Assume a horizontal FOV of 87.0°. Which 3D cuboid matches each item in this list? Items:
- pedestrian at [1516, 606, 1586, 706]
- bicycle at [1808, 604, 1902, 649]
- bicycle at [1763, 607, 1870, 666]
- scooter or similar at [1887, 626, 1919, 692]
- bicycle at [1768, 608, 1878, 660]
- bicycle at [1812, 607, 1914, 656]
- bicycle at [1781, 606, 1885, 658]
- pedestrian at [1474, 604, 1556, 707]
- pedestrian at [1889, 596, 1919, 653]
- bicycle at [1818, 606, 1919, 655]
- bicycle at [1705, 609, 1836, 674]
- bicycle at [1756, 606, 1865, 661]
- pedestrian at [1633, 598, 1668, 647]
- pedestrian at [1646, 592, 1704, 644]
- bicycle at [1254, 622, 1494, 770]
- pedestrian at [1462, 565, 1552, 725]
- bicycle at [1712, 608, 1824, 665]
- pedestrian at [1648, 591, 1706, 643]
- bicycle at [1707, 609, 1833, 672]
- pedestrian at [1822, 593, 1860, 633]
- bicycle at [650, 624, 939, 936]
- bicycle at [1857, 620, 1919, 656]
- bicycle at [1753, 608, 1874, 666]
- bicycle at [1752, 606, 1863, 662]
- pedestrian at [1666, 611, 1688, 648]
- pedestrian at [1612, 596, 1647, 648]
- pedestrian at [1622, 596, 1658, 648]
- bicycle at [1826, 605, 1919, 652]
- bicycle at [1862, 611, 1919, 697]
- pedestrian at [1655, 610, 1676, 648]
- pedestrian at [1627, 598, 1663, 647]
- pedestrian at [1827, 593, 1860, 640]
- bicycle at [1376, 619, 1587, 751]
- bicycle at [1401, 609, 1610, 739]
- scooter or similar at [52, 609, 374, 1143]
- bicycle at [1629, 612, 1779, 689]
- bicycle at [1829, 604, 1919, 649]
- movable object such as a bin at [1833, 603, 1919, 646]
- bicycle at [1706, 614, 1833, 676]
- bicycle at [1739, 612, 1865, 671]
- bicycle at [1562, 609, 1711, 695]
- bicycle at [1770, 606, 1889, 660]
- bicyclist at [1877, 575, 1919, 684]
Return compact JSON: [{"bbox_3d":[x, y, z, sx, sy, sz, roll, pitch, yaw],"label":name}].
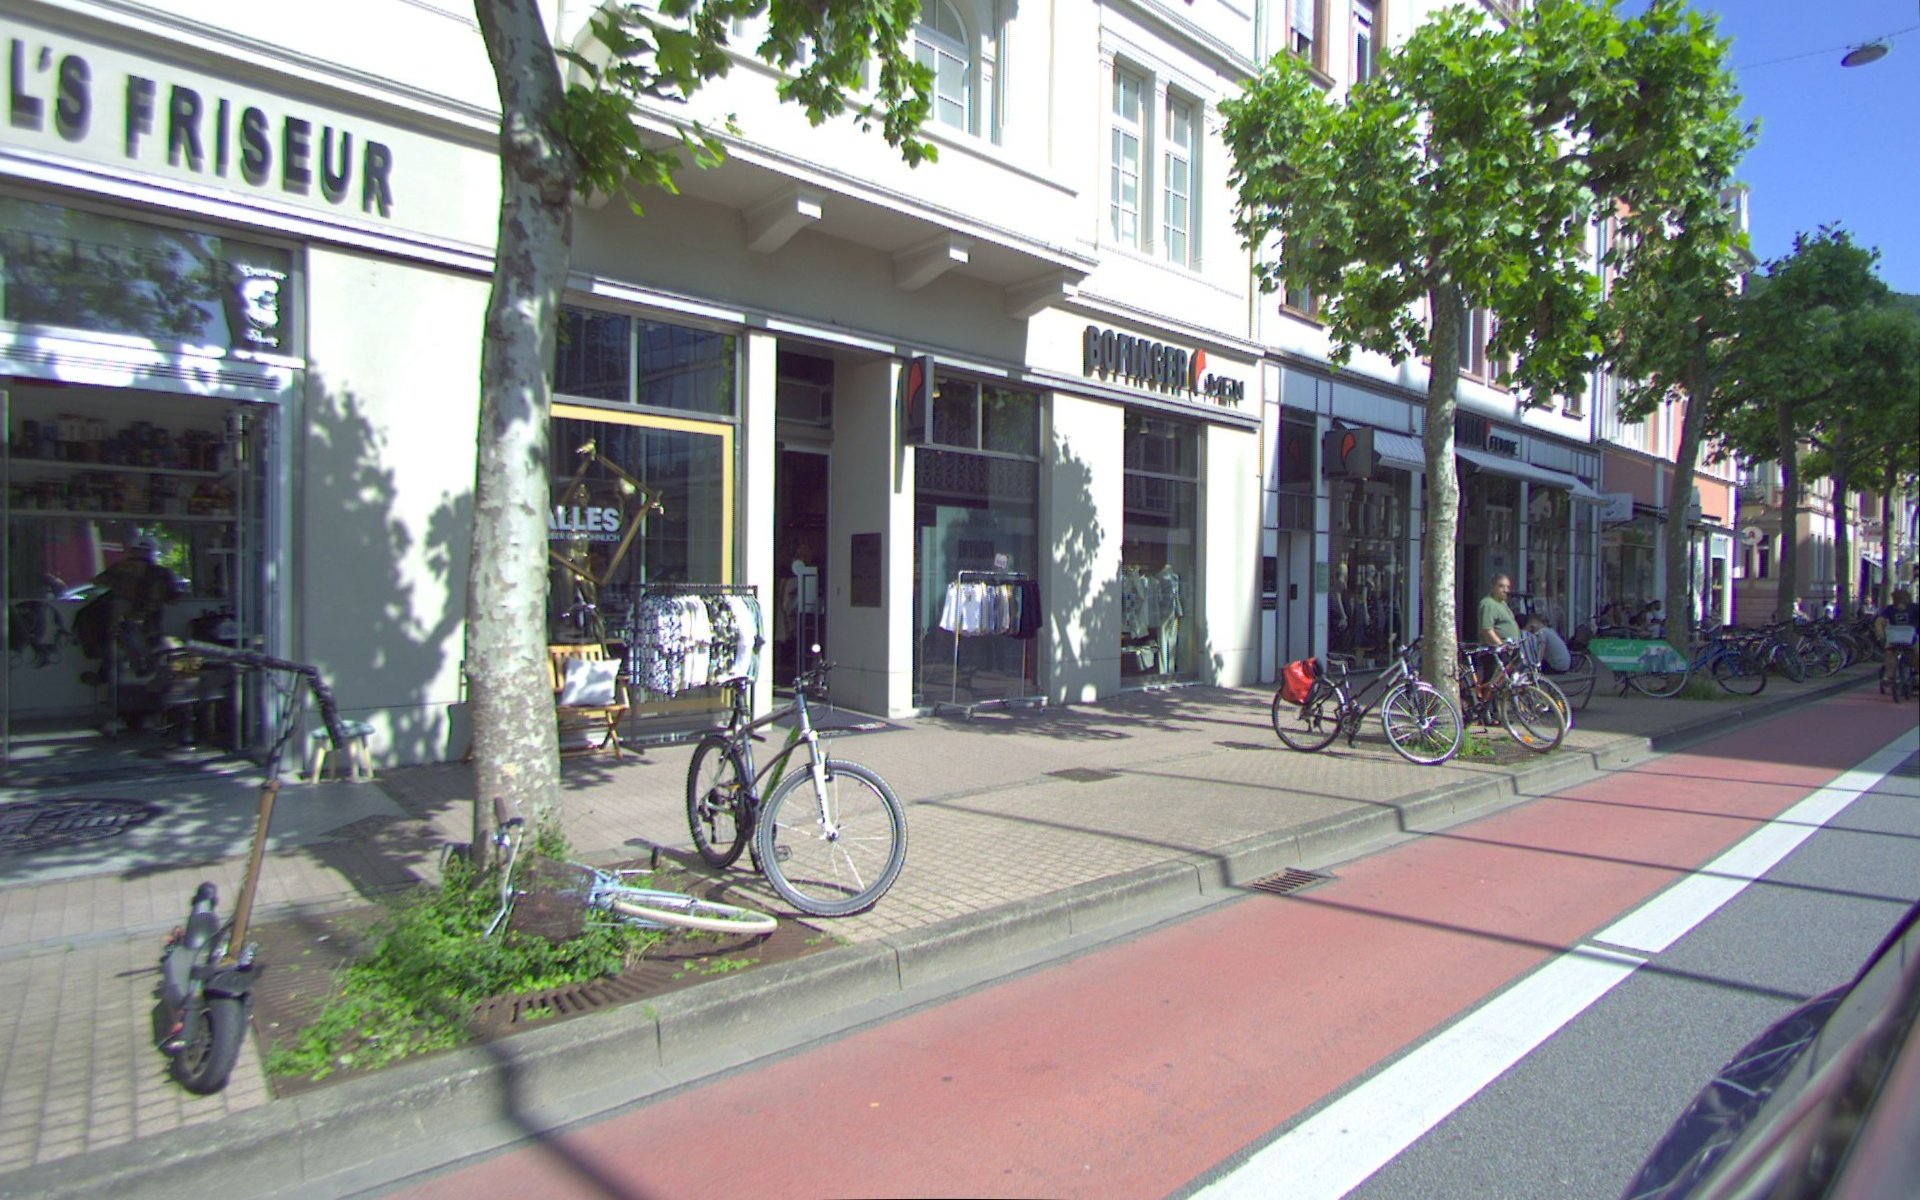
[{"bbox_3d":[7.717,0.712,13.219,0.587,1.248,0.640,-1,0,-43],"label":"pedestrian"},{"bbox_3d":[24.653,0.719,27.894,0.654,1.141,1.844,-1,2,-38],"label":"bicycle"},{"bbox_3d":[18.297,0.760,21.678,0.439,1.141,1.850,0,2,-13],"label":"bicycle"},{"bbox_3d":[16.401,0.995,17.134,1.104,1.074,0.786,0,-1,-33],"label":"scooter or similar"},{"bbox_3d":[20.027,0.777,23.531,0.519,1.141,1.848,-1,-1,-28],"label":"bicycle"},{"bbox_3d":[22.553,0.766,25.313,0.520,1.141,1.844,-1,2,-38],"label":"bicycle"},{"bbox_3d":[21.257,0.754,24.674,0.667,1.141,1.845,-2,2,-38],"label":"bicycle"},{"bbox_3d":[7.151,0.689,13.044,0.566,1.258,0.788,-1,0,-43],"label":"pedestrian"},{"bbox_3d":[30.443,0.782,32.547,0.630,1.818,0.788,1,-1,-43],"label":"pedestrian"},{"bbox_3d":[23.057,0.763,25.700,0.654,1.141,1.844,-1,2,-38],"label":"bicycle"},{"bbox_3d":[14.919,0.760,18.677,1.836,1.141,0.623,-2,-1,40],"label":"bicycle"},{"bbox_3d":[19.370,0.739,23.090,0.440,1.141,1.845,-1,2,-37],"label":"bicycle"},{"bbox_3d":[18.997,0.614,27.834,0.598,1.268,0.640,-1,3,-43],"label":"pedestrian"},{"bbox_3d":[20.636,0.504,29.214,0.777,1.440,1.234,-1,2,-43],"label":"pedestrian"},{"bbox_3d":[3.595,0.774,8.942,0.779,1.111,1.846,0,0,-35],"label":"bicycle"},{"bbox_3d":[6.133,0.491,11.347,0.829,1.711,0.639,1,-2,-43],"label":"pedestrian"},{"bbox_3d":[17.170,0.766,21.530,1.818,1.141,0.446,0,1,13],"label":"bicycle"},{"bbox_3d":[21.172,0.477,29.892,0.823,1.502,1.253,0,1,-43],"label":"pedestrian"},{"bbox_3d":[15.684,0.772,19.664,1.835,1.141,0.755,-2,0,37],"label":"bicycle"},{"bbox_3d":[38.561,0.569,44.319,0.892,1.630,0.970,1,4,21],"label":"pedestrian"},{"bbox_3d":[-0.893,0.733,4.956,0.657,1.201,1.845,0,-1,-35],"label":"bicycle"},{"bbox_3d":[27.750,1.098,29.827,1.018,0.395,1.854,-44,19,-32],"label":"bicycle"},{"bbox_3d":[17.612,0.754,20.922,1.819,1.141,0.591,0,1,14],"label":"bicycle"},{"bbox_3d":[19.042,0.742,22.779,0.440,1.141,1.845,-1,2,-37],"label":"bicycle"},{"bbox_3d":[19.319,0.778,27.267,0.429,0.980,0.365,1,0,-39],"label":"pedestrian"},{"bbox_3d":[17.687,0.578,26.737,0.523,1.349,0.682,1,0,-43],"label":"pedestrian"},{"bbox_3d":[18.180,0.570,27.062,0.523,1.355,0.682,1,0,-43],"label":"pedestrian"},{"bbox_3d":[24.399,0.742,27.012,0.632,1.141,1.844,-1,2,-38],"label":"bicycle"},{"bbox_3d":[15.222,0.833,16.072,2.237,1.285,0.735,1,-1,-32],"label":"bicycle"},{"bbox_3d":[18.761,0.764,26.914,0.429,0.980,0.342,1,0,-39],"label":"pedestrian"},{"bbox_3d":[18.564,0.595,27.436,0.523,1.268,0.682,1,1,-43],"label":"pedestrian"},{"bbox_3d":[32.649,0.602,37.394,0.773,1.679,0.642,2,-1,-27],"label":"pedestrian"},{"bbox_3d":[4.983,0.761,9.816,0.487,1.141,1.848,0,-1,-29],"label":"bicycle"},{"bbox_3d":[5.666,0.714,10.632,0.660,1.212,1.847,0,0,-33],"label":"bicycle"},{"bbox_3d":[-2.292,0.678,3.280,0.656,1.291,1.481,0,-1,-29],"label":"scooter or similar"},{"bbox_3d":[11.599,0.770,15.826,1.838,1.141,0.490,-2,-3,42],"label":"bicycle"},{"bbox_3d":[25.451,0.721,28.167,0.654,1.141,1.844,-1,2,-38],"label":"bicycle"},{"bbox_3d":[26.597,0.705,29.308,0.639,1.204,1.859,0,-1,-25],"label":"movable object such as a bin"},{"bbox_3d":[15.224,0.820,19.077,1.837,1.107,0.556,-1,-1,40],"label":"bicycle"},{"bbox_3d":[16.625,0.800,20.027,0.554,1.107,1.843,0,0,-40],"label":"bicycle"},{"bbox_3d":[10.060,0.752,15.118,1.760,1.212,0.573,0,0,23],"label":"bicycle"},{"bbox_3d":[20.563,0.750,23.982,0.746,1.141,1.995,-1,2,-28],"label":"bicycle"},{"bbox_3d":[15.186,0.454,16.046,0.759,1.694,0.734,0,1,-32],"label":"bicyclist"}]
